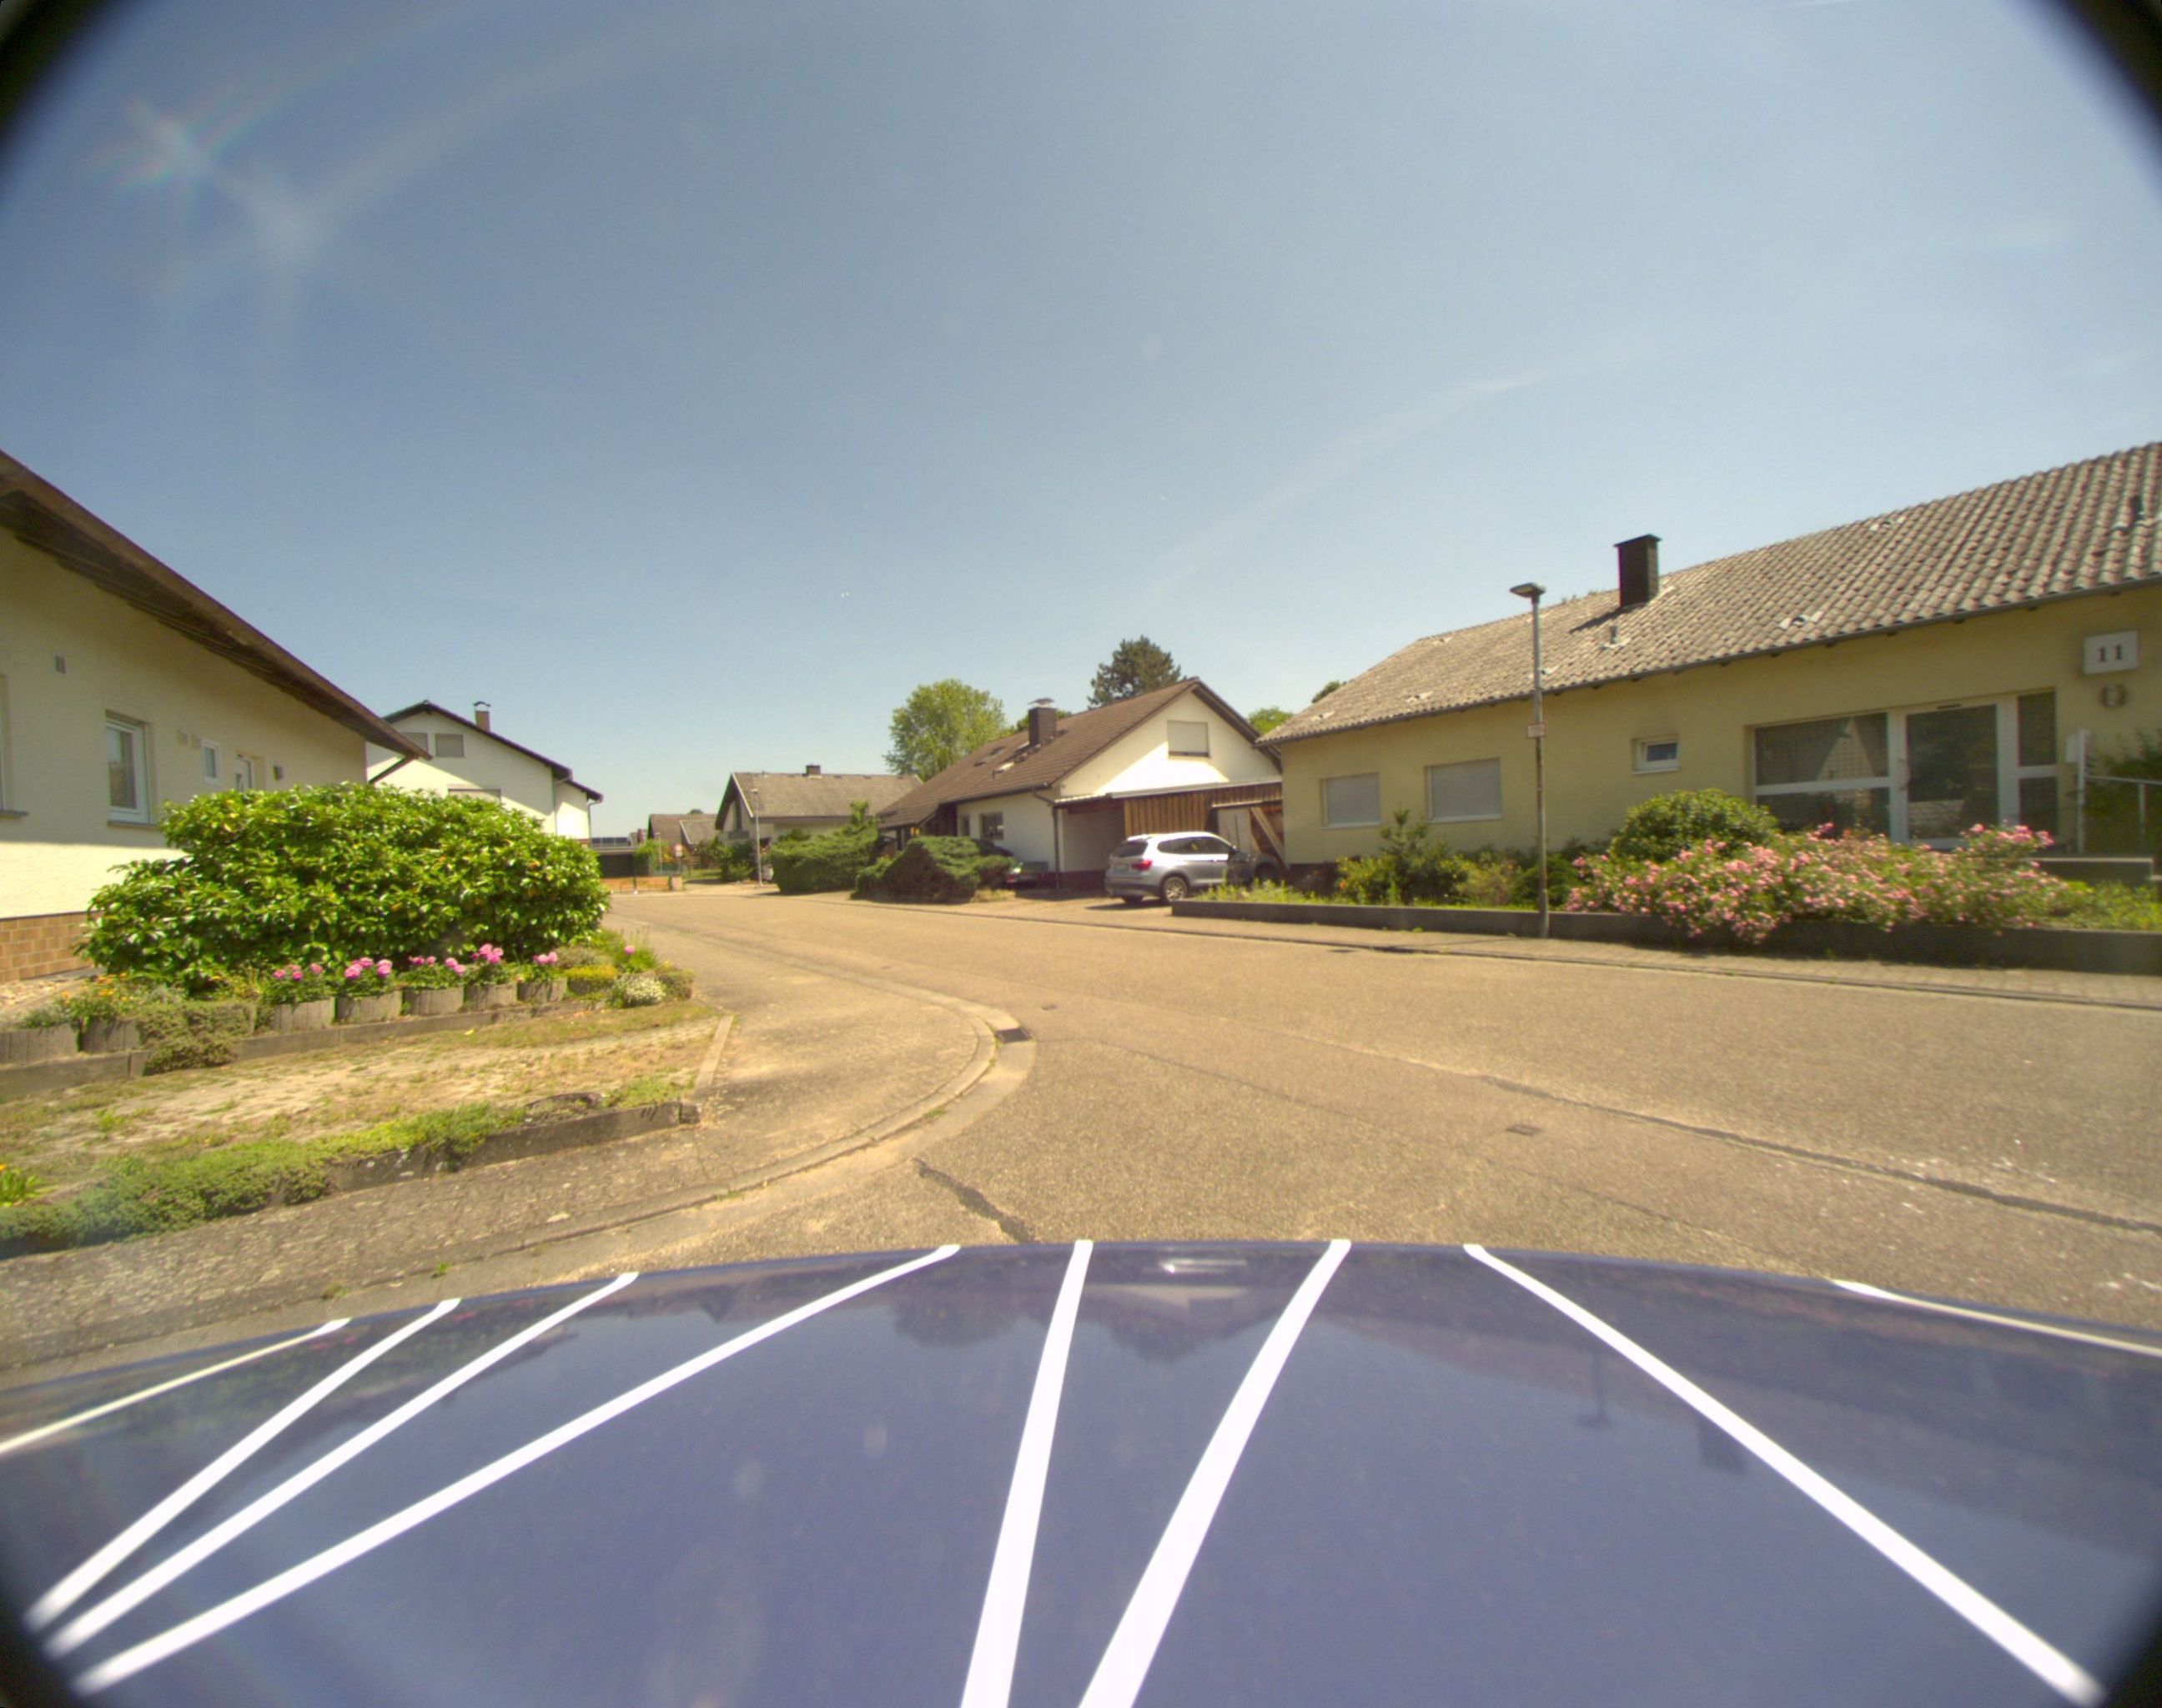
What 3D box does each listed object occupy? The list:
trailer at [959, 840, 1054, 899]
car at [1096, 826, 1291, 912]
[{"bbox_3d":[-2.448,0.441,24.368,1.594,1.663,3.288,-5,3,-33],"label":"trailer"},{"bbox_3d":[2.848,0.298,18.783,4.648,1.693,1.705,-5,2,-31],"label":"car"}]
